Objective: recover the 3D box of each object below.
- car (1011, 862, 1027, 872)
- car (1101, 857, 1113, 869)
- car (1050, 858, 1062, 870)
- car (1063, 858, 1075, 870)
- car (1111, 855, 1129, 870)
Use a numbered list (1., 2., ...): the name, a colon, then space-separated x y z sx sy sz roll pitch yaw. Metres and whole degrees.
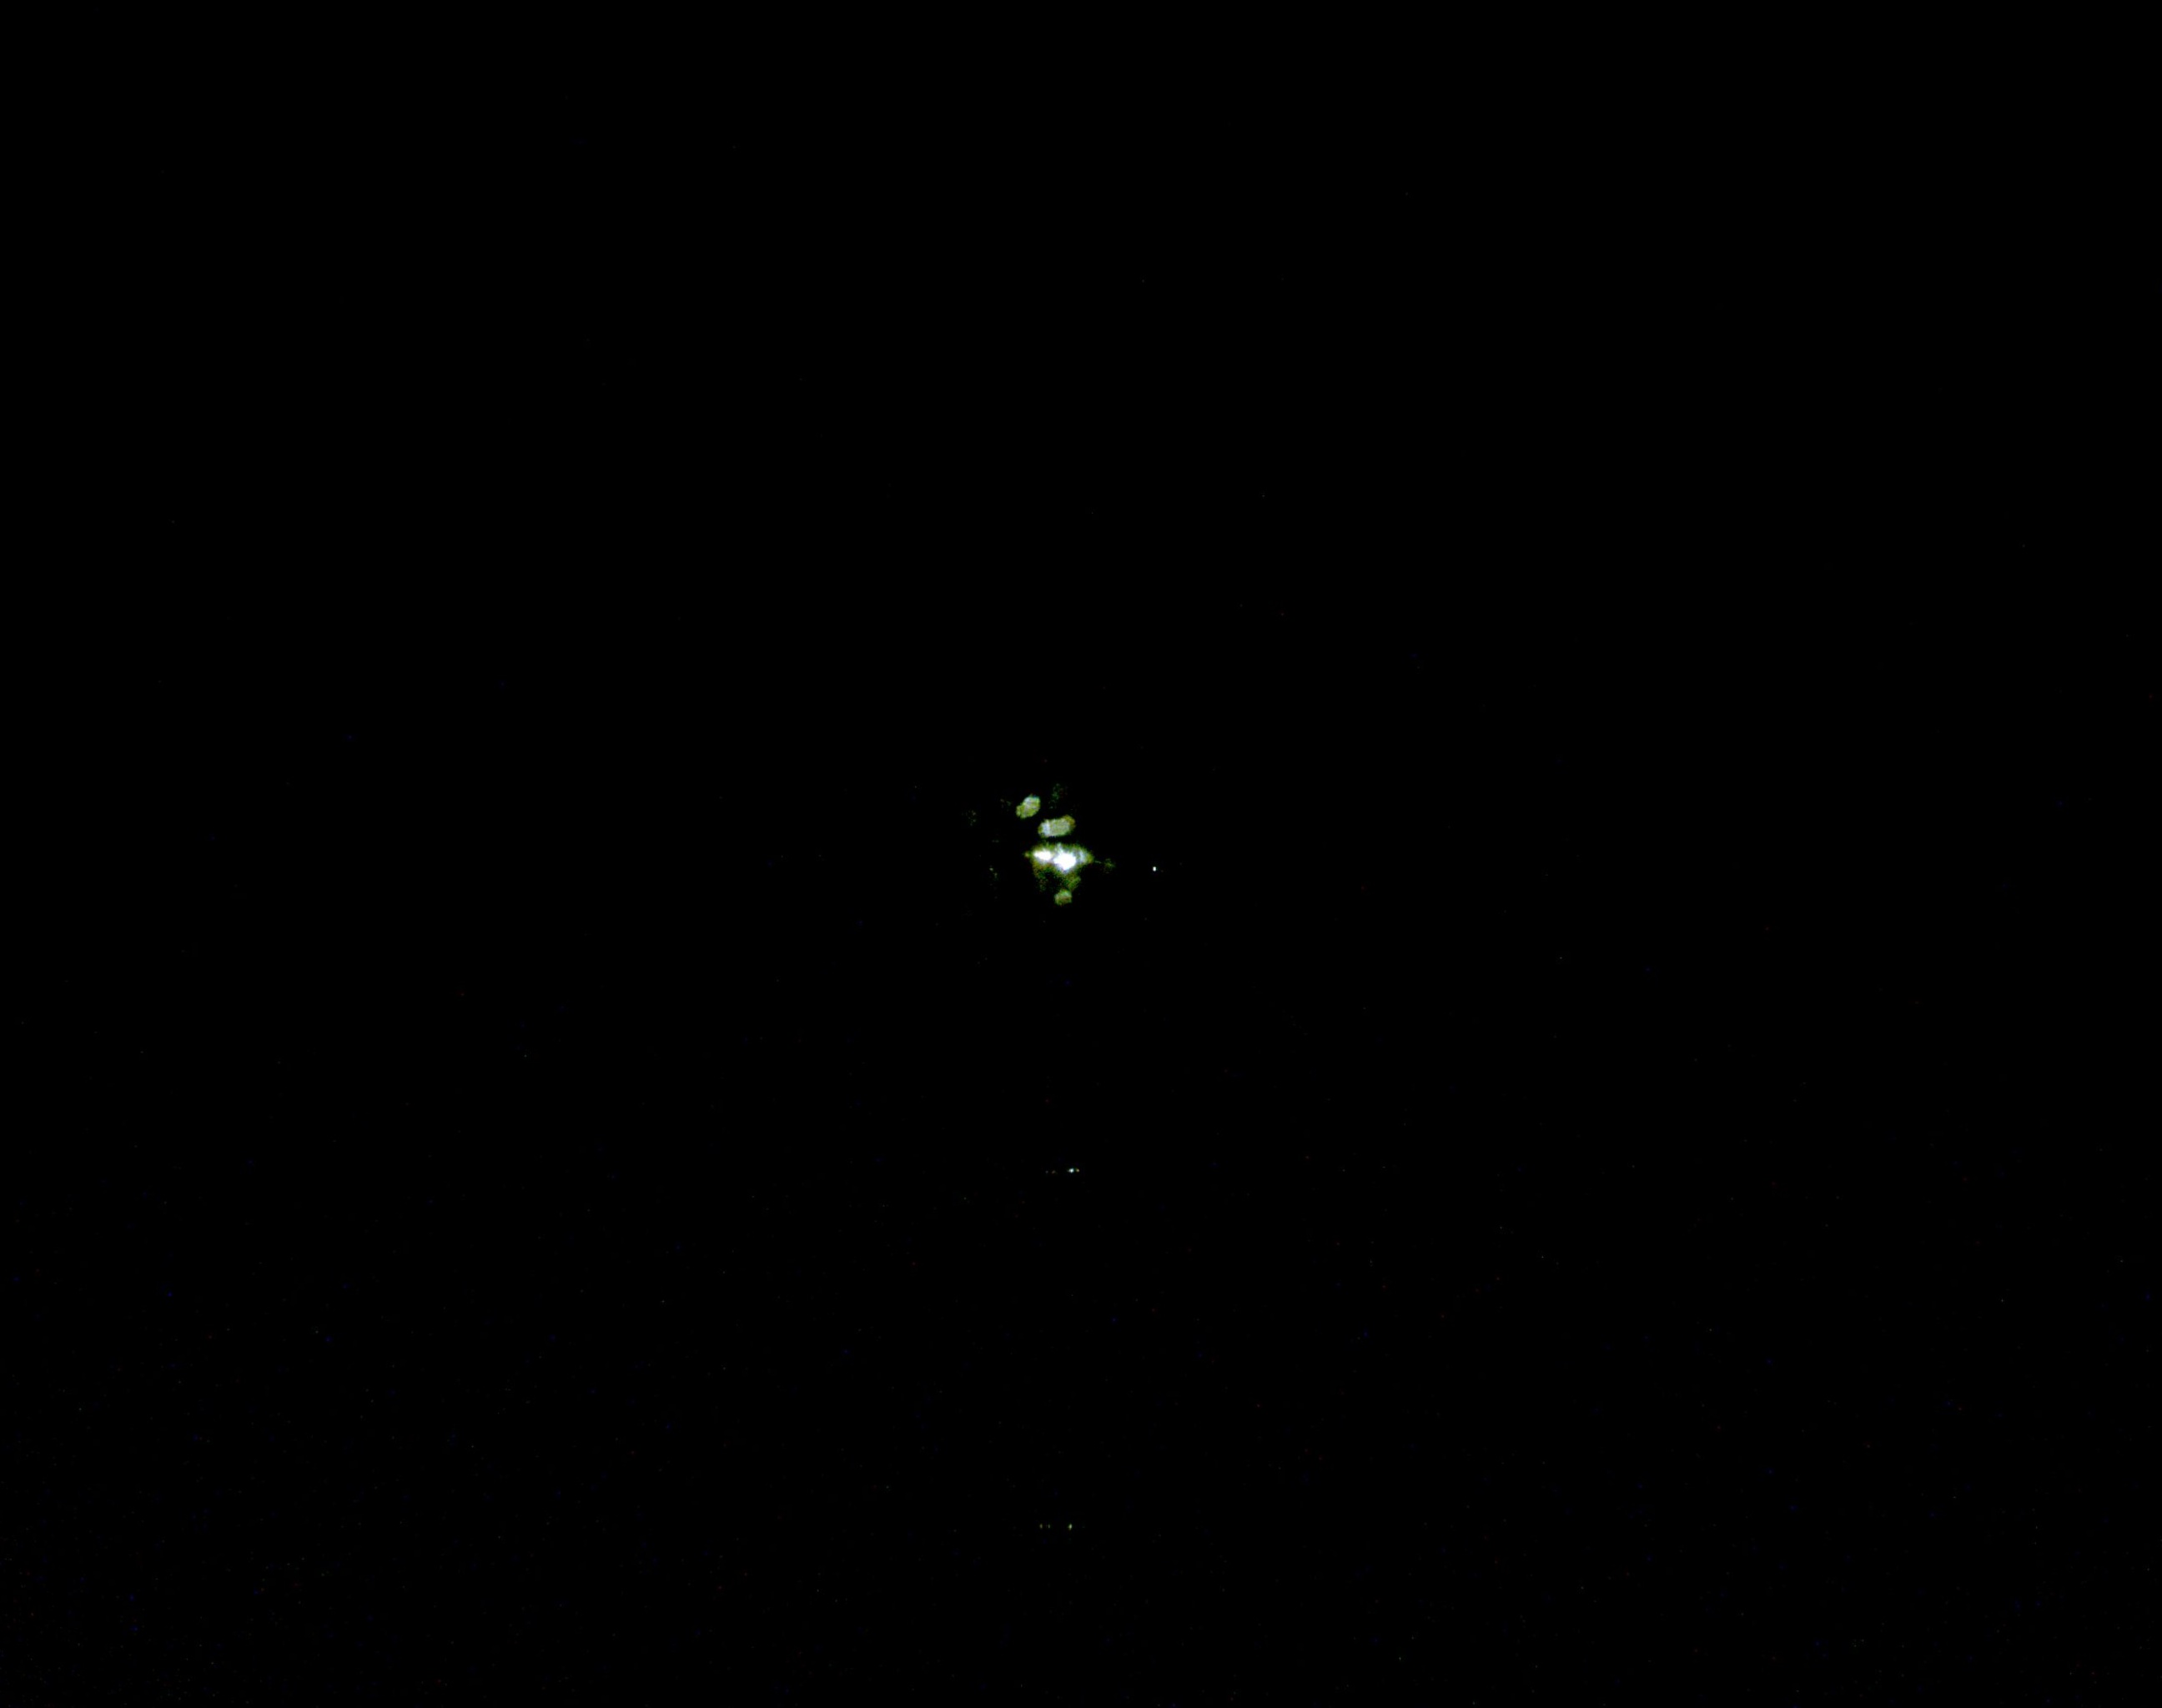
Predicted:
1. car: -9.390 1.942 123.454 1.986 1.448 4.431 0 0 2
2. car: 4.539 1.606 142.567 1.986 2.014 4.001 0 0 1
3. car: -4.357 1.748 142.136 1.986 2.014 4.001 0 0 1
4. car: -2.091 1.774 147.374 1.986 2.014 4.001 0 0 1
5. car: 4.466 0.989 91.986 1.985 1.618 4.003 -1 0 3
